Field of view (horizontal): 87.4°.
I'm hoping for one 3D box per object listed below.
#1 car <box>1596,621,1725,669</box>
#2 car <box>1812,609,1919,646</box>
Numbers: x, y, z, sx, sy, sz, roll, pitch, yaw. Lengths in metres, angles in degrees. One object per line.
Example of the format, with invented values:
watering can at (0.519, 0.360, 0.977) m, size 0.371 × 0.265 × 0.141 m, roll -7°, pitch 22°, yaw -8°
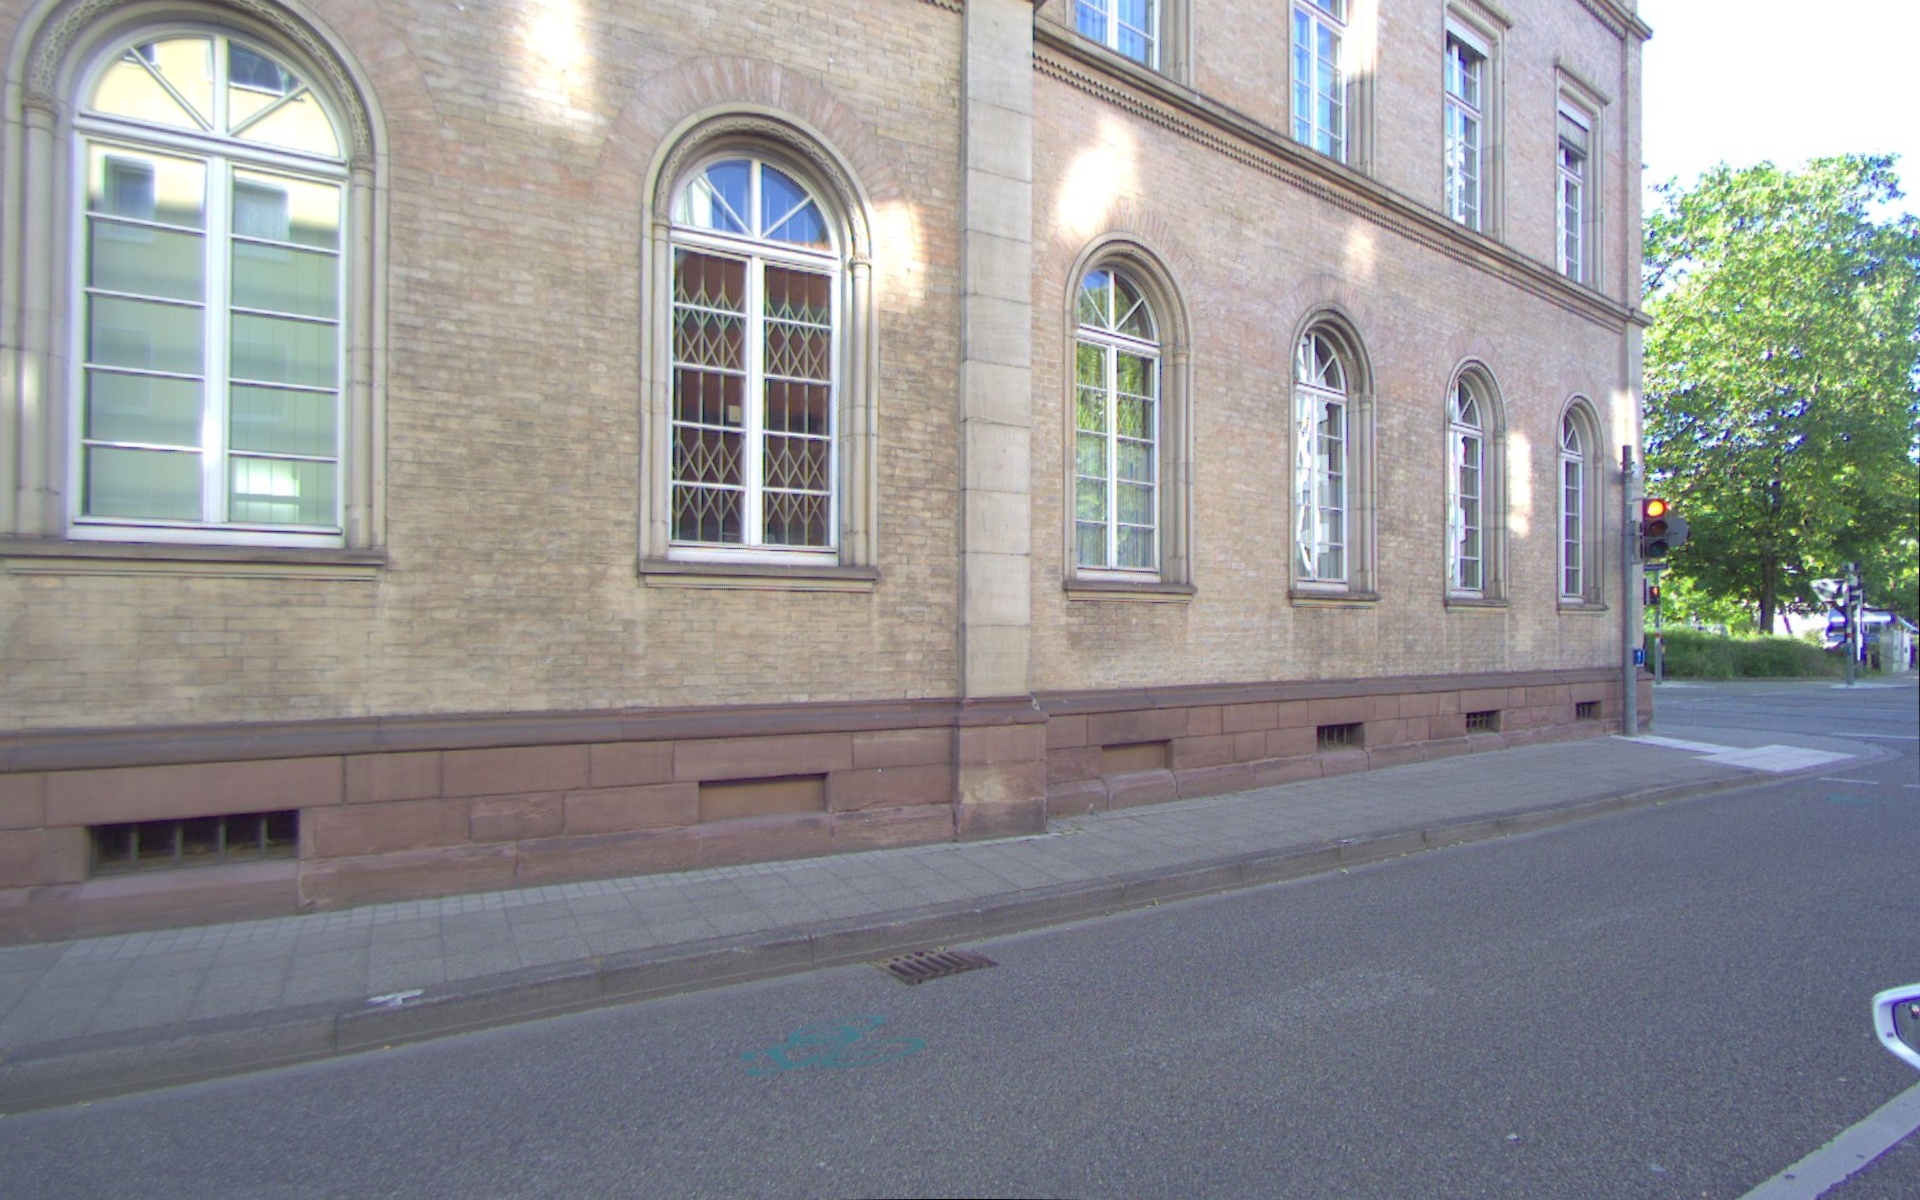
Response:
car at (24.382, 1.524, 35.031) m, size 1.636 × 1.476 × 3.382 m, roll 2°, pitch 0°, yaw -39°
car at (53.503, 1.603, 59.393) m, size 1.983 × 2.040 × 4.409 m, roll 2°, pitch 0°, yaw -38°
